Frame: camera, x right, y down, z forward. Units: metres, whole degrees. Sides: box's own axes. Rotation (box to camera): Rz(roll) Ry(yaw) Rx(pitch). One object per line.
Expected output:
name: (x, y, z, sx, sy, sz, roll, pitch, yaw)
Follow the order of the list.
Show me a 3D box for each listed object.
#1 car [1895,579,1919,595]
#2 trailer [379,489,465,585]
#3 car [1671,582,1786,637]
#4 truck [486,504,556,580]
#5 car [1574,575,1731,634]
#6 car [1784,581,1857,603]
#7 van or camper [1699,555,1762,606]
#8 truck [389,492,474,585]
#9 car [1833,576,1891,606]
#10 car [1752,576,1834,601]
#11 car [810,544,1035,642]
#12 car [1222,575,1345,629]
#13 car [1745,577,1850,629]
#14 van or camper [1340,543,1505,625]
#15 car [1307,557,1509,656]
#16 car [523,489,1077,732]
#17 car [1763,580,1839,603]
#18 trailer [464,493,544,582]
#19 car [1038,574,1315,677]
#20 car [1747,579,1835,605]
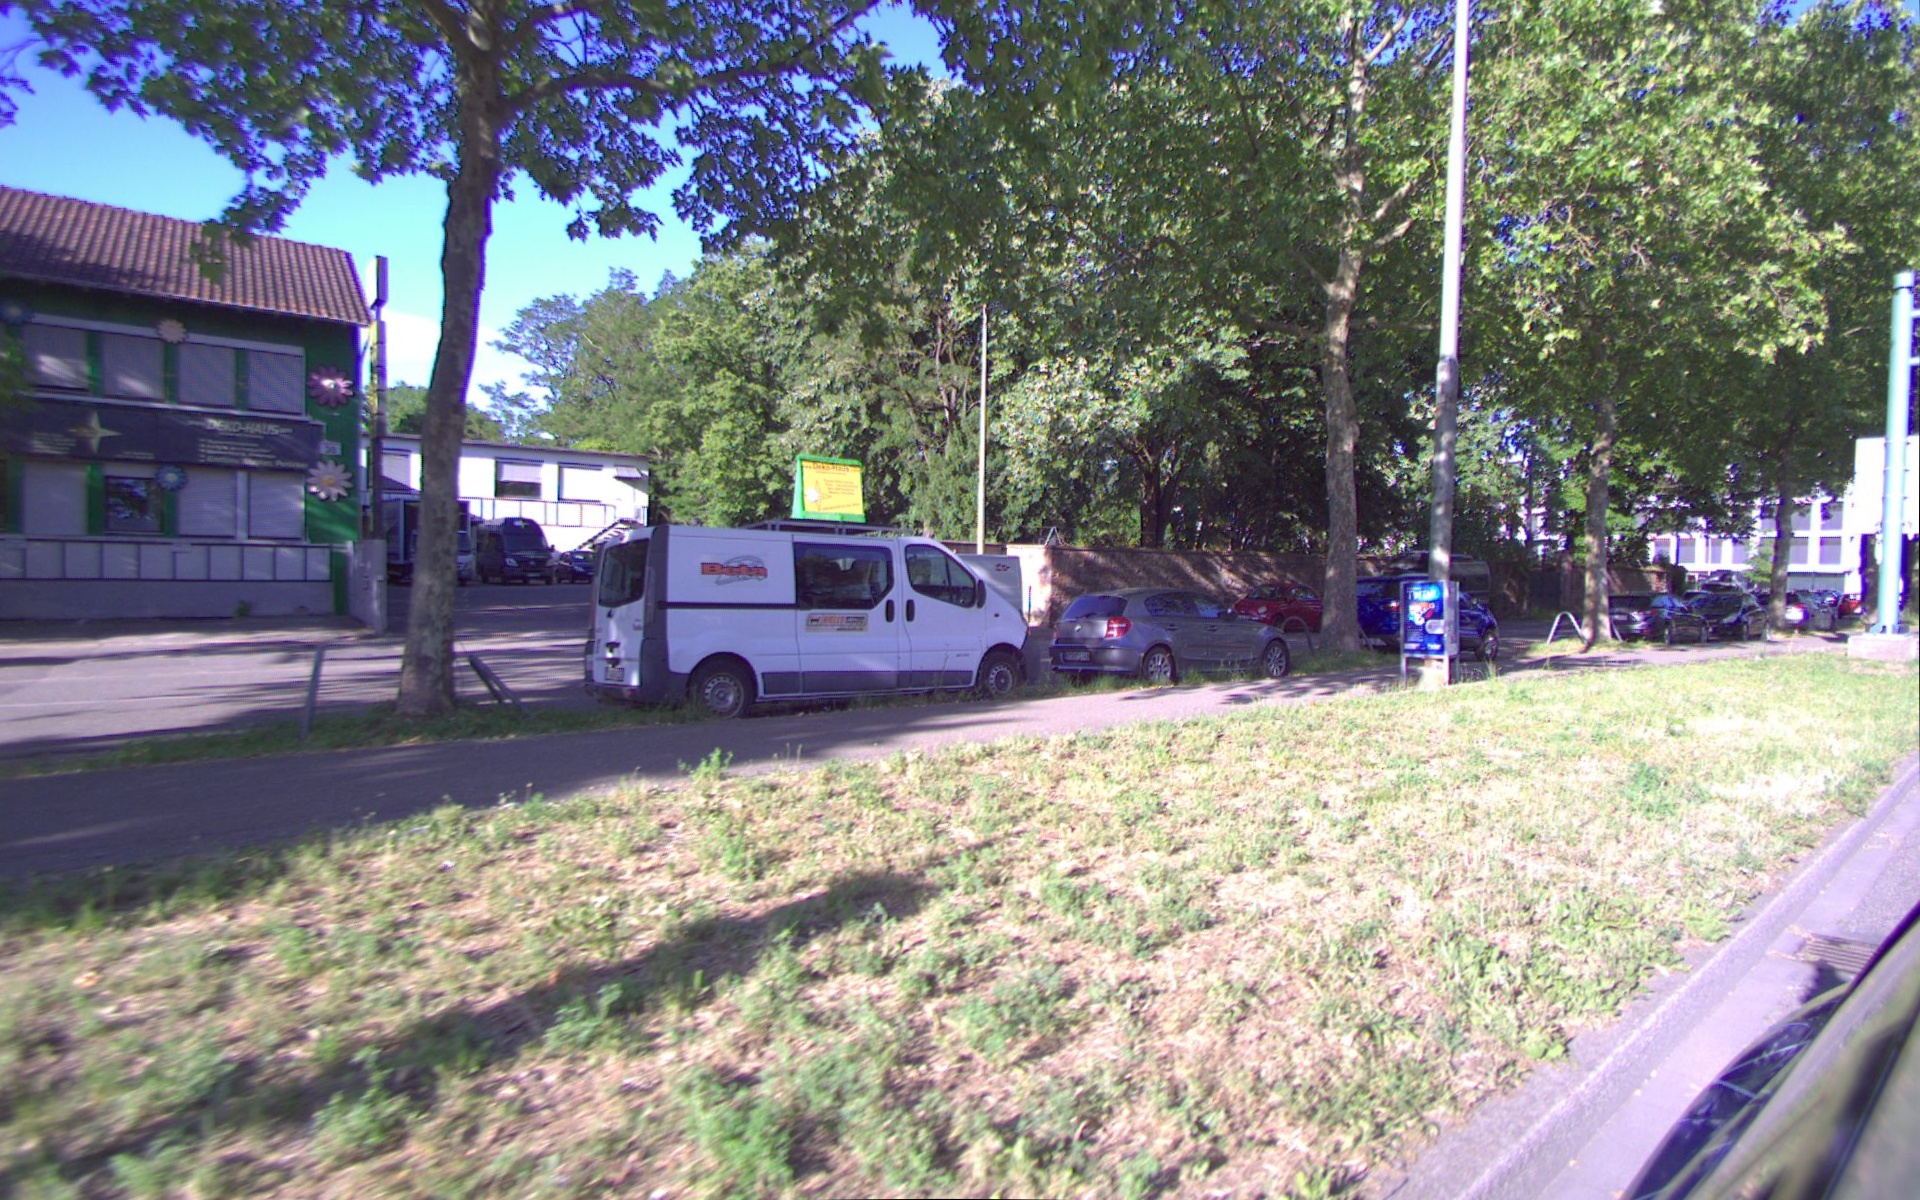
car: (93.741, -1.288, 99.469, 4.322, 1.503, 2.000, -1, 5, -38)
trailer: (-23.213, -2.505, 43.420, 2.632, 3.608, 8.820, -1, 1, -32)
car: (22.229, 0.236, 29.228, 3.815, 1.456, 1.797, -1, 1, -39)
truck: (-18.048, -2.329, 41.553, 2.187, 2.951, 2.903, -1, 1, -32)
car: (17.957, 0.087, 26.179, 4.591, 1.399, 1.998, -1, 0, -38)
car: (67.063, -0.649, 78.918, 1.685, 1.485, 4.091, -1, 4, -39)
van or camper: (44.831, -1.165, 58.842, 4.882, 2.763, 1.996, -1, 5, -44)
truck: (-20.266, -2.277, 38.774, 2.662, 3.311, 2.491, 1, 0, -33)
car: (51.481, -0.511, 57.841, 1.987, 1.660, 3.950, 0, 1, 35)
car: (60.713, -0.850, 73.807, 1.875, 1.496, 4.334, 1, 3, -44)
car: (-0.802, -0.210, 23.349, 4.850, 2.039, 2.093, -1, 2, -36)
car: (9.964, 0.017, 31.104, 3.687, 1.489, 1.697, -1, 4, -35)
car: (27.573, 0.095, 33.277, 3.947, 1.580, 1.797, -1, -1, -38)
van or camper: (17.036, -0.618, 37.136, 6.441, 2.716, 2.566, 0, 4, -36)
car: (8.473, 0.051, 18.977, 4.275, 1.662, 1.740, -2, 1, -39)
car: (-1.502, 0.026, 11.160, 5.716, 2.039, 2.194, -1, 1, -40)
car: (63.096, -0.657, 75.985, 1.752, 1.516, 4.197, -1, 3, -43)
trailer: (-21.012, -2.702, 46.352, 2.181, 3.608, 8.760, -1, 1, -32)
car: (3.286, 0.295, 15.054, 3.981, 1.306, 1.998, -1, 1, -39)
car: (58.939, -0.577, 71.818, 1.963, 1.427, 4.396, 0, 6, -38)
